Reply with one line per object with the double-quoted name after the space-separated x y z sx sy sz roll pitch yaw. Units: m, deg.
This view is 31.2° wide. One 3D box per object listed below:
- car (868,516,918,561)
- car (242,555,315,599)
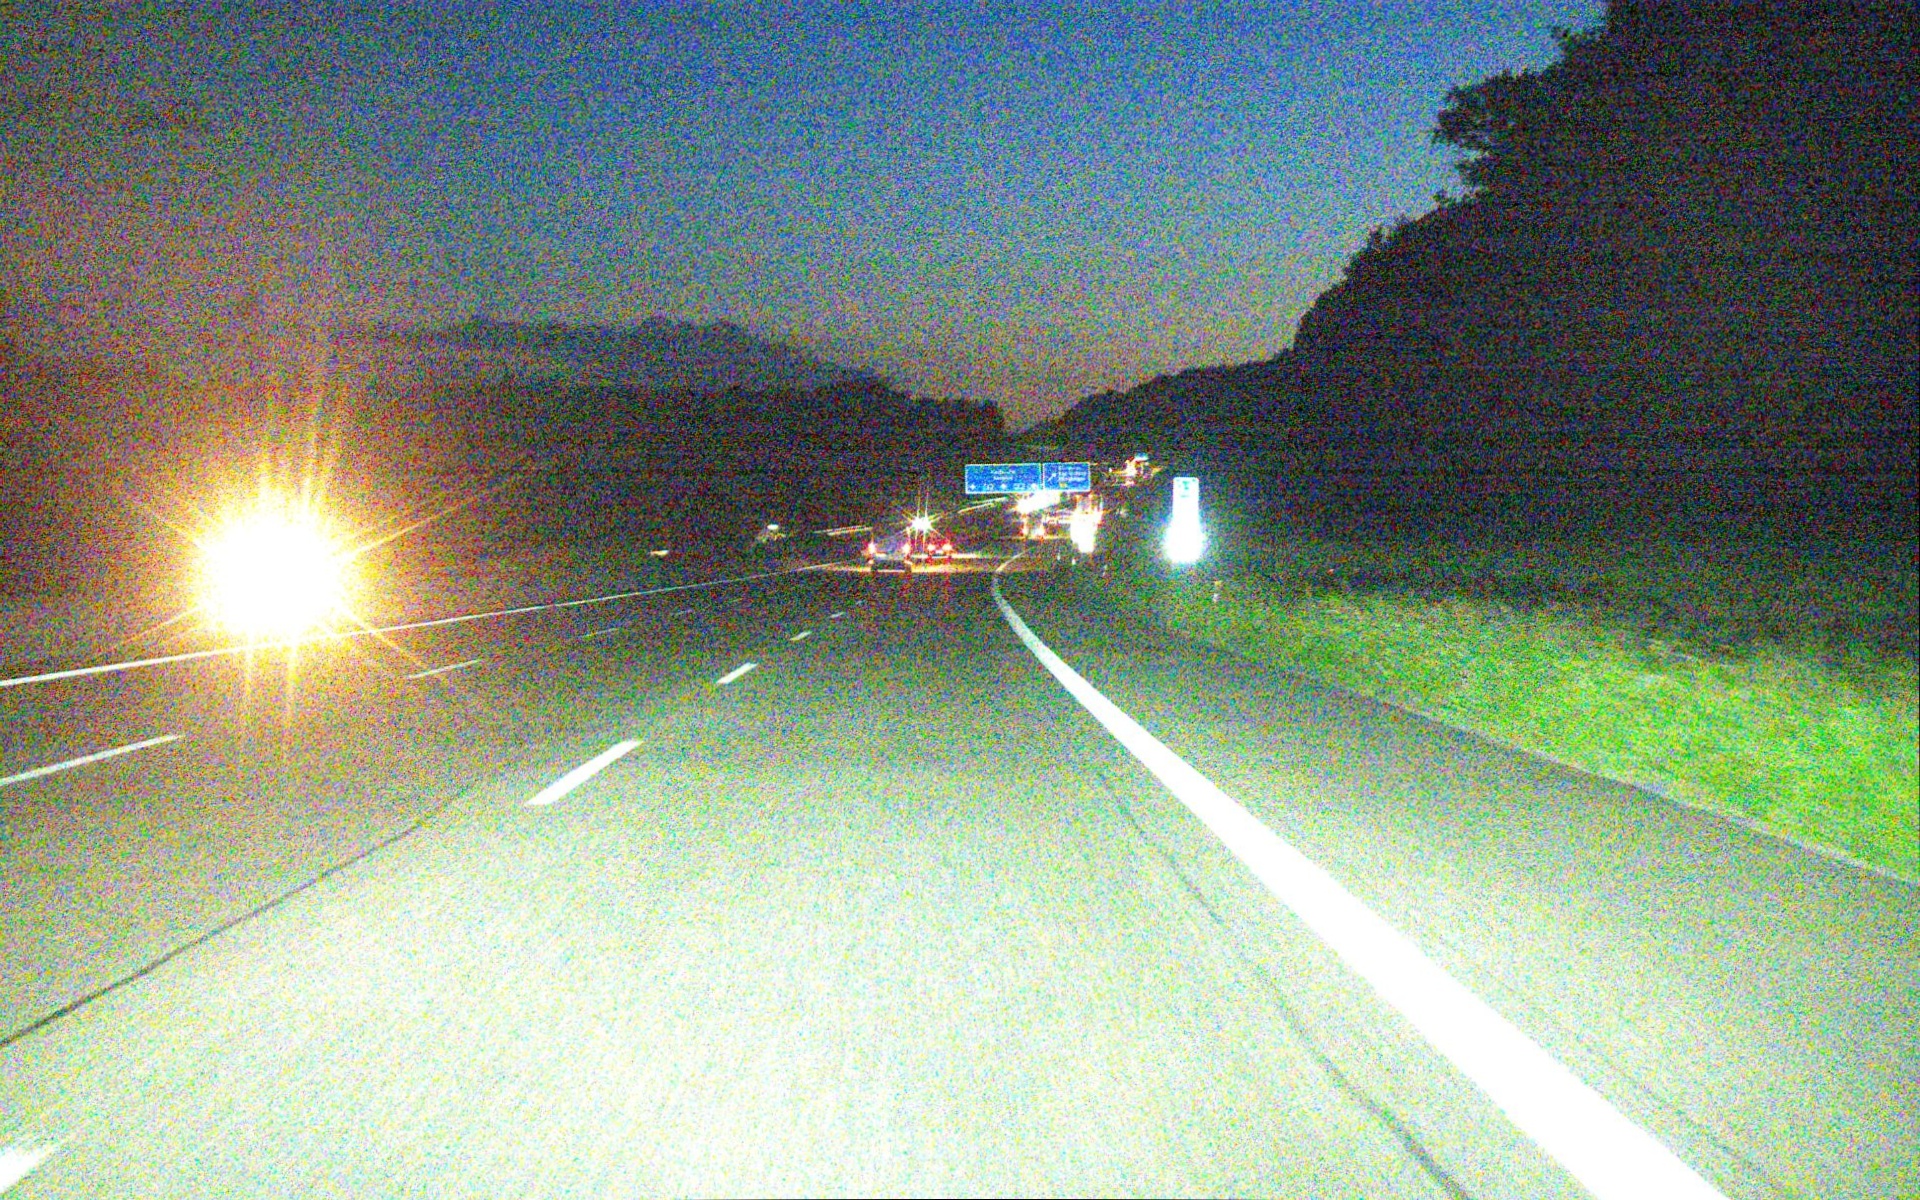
-3.489 -3.205 180.200 2.511 2.306 4.971 0 1 0 "car"
-20.265 -0.693 102.361 1.591 1.260 4.001 0 1 -3 "car"
